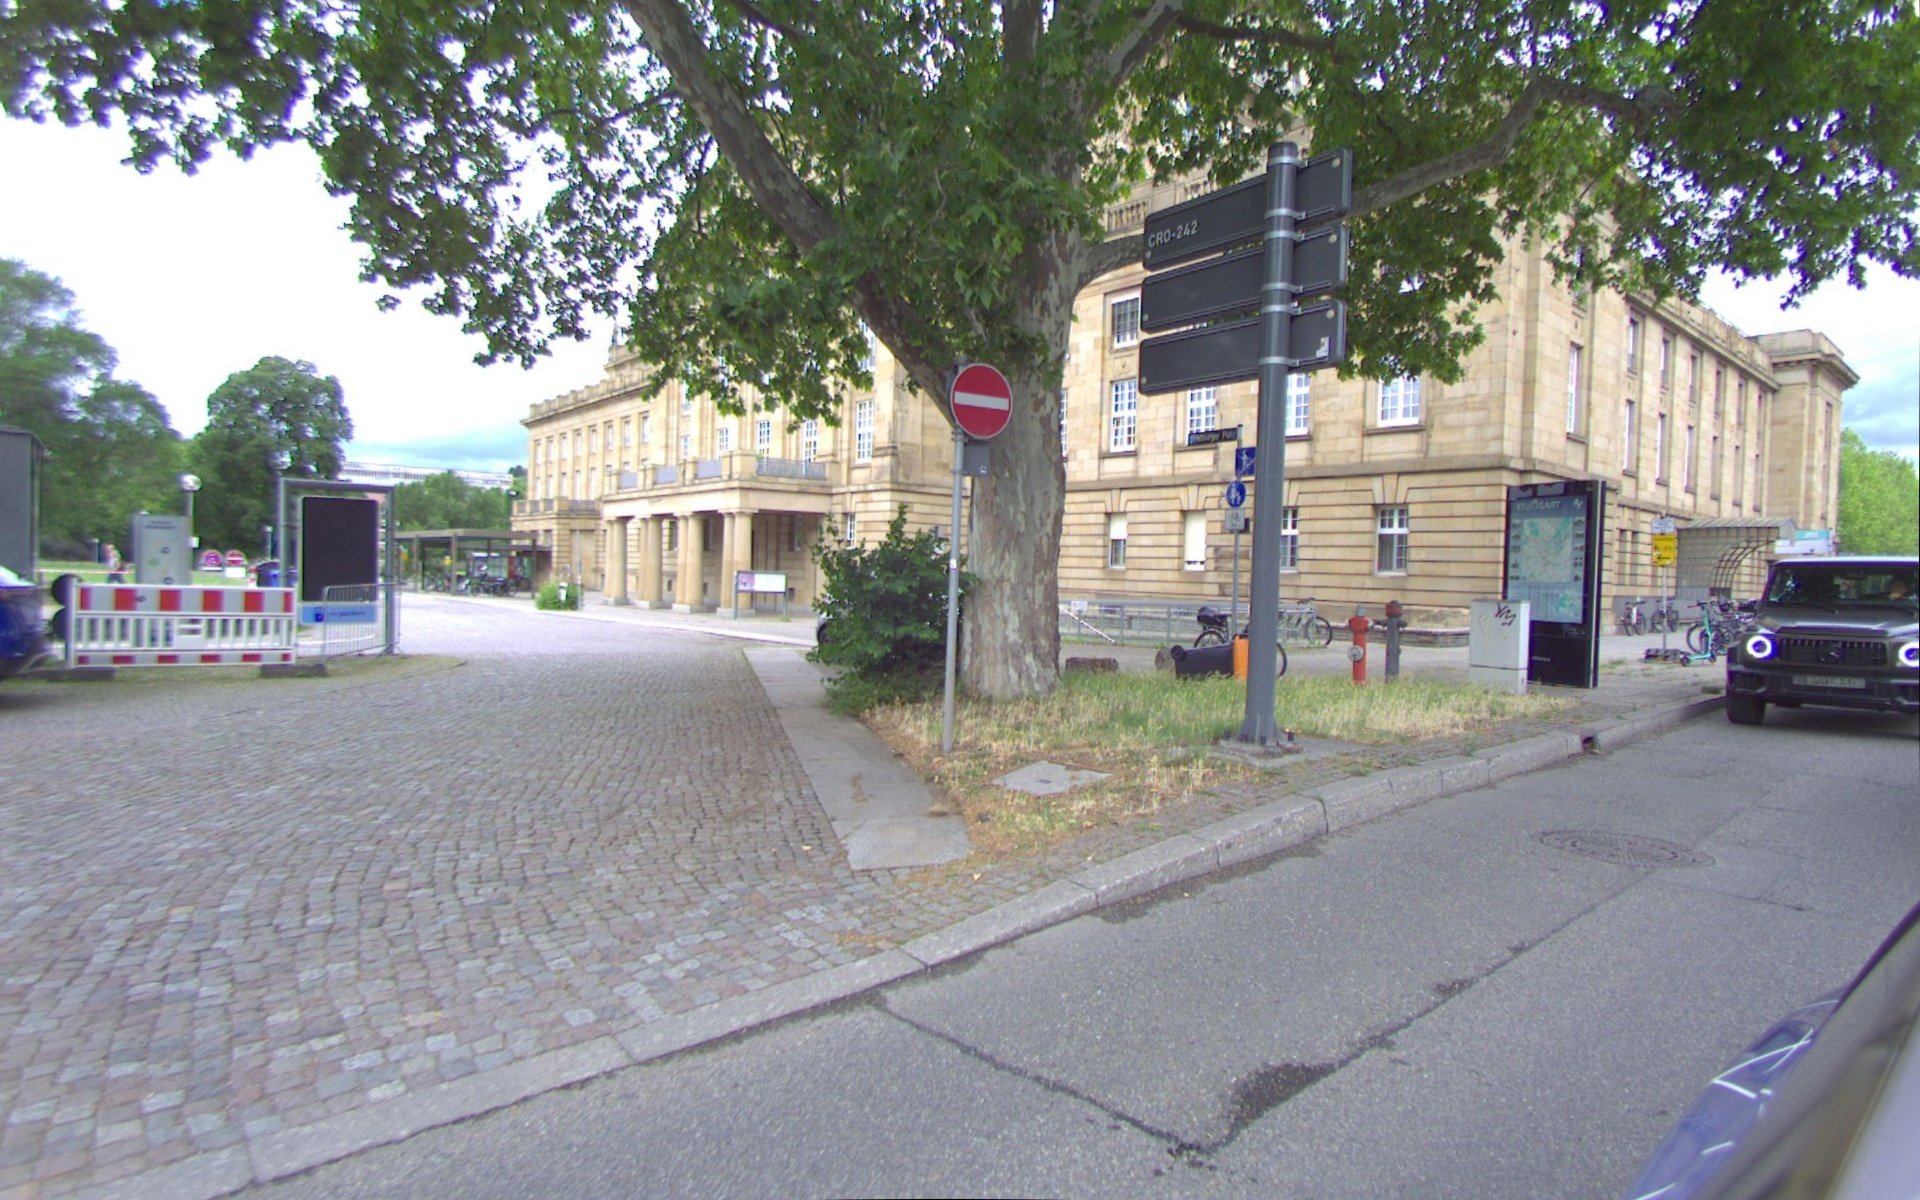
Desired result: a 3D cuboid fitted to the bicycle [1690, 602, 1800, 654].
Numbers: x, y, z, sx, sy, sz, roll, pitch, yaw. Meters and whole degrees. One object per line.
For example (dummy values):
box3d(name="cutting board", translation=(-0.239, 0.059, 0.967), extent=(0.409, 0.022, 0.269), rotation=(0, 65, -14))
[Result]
box3d(name="bicycle", translation=(17.746, 0.601, 22.912), extent=(0.653, 1.105, 1.864), rotation=(0, 0, -33))

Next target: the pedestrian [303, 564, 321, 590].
box3d(name="pedestrian", translation=(-45.937, -1.593, 71.704), extent=(0.539, 1.828, 0.939), rotation=(-1, 0, 22))

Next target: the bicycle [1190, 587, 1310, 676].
box3d(name="bicycle", translation=(4.329, 0.436, 15.225), extent=(0.483, 1.236, 1.790), rotation=(0, 1, -37))

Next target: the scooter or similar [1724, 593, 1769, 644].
box3d(name="scooter or similar", translation=(19.657, 0.442, 25.287), extent=(1.286, 1.239, 0.427), rotation=(-1, 0, -31))

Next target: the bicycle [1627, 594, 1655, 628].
box3d(name="bicycle", translation=(21.263, 0.333, 31.577), extent=(1.929, 1.010, 0.240), rotation=(-1, 2, -42))

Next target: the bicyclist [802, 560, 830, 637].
box3d(name="bicyclist", translation=(-3.402, -0.041, 23.889), extent=(0.436, 1.770, 0.468), rotation=(2, 1, 42))

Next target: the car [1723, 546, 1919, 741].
box3d(name="car", translation=(10.806, 0.411, 11.973), extent=(4.322, 1.949, 1.951), rotation=(0, 2, -41))

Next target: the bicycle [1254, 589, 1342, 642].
box3d(name="bicycle", translation=(7.844, 0.344, 23.546), extent=(0.382, 1.139, 2.015), rotation=(0, 2, -40))

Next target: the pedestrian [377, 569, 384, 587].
box3d(name="pedestrian", translation=(-58.657, -2.264, 102.488), extent=(0.534, 1.828, 0.654), rotation=(0, 0, -23))

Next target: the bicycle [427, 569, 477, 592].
box3d(name="bicycle", translation=(-30.273, -1.166, 60.332), extent=(2.533, 1.362, 0.726), rotation=(-1, 0, -41))

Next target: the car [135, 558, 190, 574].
box3d(name="car", translation=(-89.017, -3.767, 113.014), extent=(4.822, 1.761, 2.077), rotation=(-1, 0, -38))

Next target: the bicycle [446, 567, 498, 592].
box3d(name="bicycle", translation=(-27.755, -1.174, 57.578), extent=(2.533, 1.362, 0.726), rotation=(-1, 0, -41))

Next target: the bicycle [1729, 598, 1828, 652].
box3d(name="bicycle", translation=(19.309, 0.564, 23.900), extent=(0.594, 1.224, 1.759), rotation=(0, 0, -43))

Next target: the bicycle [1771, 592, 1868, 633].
box3d(name="bicycle", translation=(21.264, 0.286, 25.064), extent=(0.601, 0.928, 1.738), rotation=(0, 2, -22))

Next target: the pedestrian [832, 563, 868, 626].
box3d(name="pedestrian", translation=(-3.107, -0.148, 28.577), extent=(0.692, 1.743, 0.680), rotation=(0, 1, -42))

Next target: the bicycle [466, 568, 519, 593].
box3d(name="bicycle", translation=(-25.895, -1.075, 56.068), extent=(2.533, 1.362, 0.726), rotation=(-1, 0, -41))

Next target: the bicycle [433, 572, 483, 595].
box3d(name="bicycle", translation=(-29.549, -0.973, 59.597), extent=(2.533, 1.362, 0.726), rotation=(-1, 0, -41))

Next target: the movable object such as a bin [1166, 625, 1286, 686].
box3d(name="movable object such as a bin", translation=(3.273, 0.663, 12.530), extent=(0.714, 0.660, 1.304), rotation=(-1, 0, -32))

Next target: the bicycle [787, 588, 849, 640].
box3d(name="bicycle", translation=(-3.376, 0.320, 23.932), extent=(1.748, 1.146, 0.437), rotation=(2, 1, 42))

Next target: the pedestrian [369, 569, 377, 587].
box3d(name="pedestrian", translation=(-59.471, -2.256, 102.526), extent=(0.534, 1.828, 0.654), rotation=(0, 0, -23))

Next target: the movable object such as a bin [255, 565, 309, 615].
box3d(name="movable object such as a bin", translation=(-18.864, -0.286, 28.148), extent=(1.132, 1.320, 1.412), rotation=(0, 2, -38))

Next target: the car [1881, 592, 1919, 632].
box3d(name="car", translation=(37.964, 0.479, 40.188), extent=(3.792, 1.473, 1.619), rotation=(0, 3, -42))

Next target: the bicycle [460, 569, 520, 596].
box3d(name="bicycle", translation=(-25.988, -0.975, 56.040), extent=(2.852, 1.443, 0.959), rotation=(-1, 0, -45))

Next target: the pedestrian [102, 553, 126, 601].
box3d(name="pedestrian", translation=(-32.501, -0.887, 38.883), extent=(0.494, 1.828, 0.543), rotation=(-1, 0, 23))

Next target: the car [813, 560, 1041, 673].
box3d(name="car", translation=(-0.640, 0.181, 16.269), extent=(1.649, 1.588, 3.844), rotation=(0, 1, -40))

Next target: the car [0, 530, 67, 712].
box3d(name="car", translation=(-10.163, 0.088, 8.391), extent=(3.952, 1.571, 1.765), rotation=(3, 0, -38))

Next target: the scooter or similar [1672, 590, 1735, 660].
box3d(name="scooter or similar", translation=(14.132, 0.459, 19.237), extent=(1.405, 1.296, 0.433), rotation=(0, 0, -30))

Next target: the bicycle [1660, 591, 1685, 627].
box3d(name="bicycle", translation=(23.896, 0.297, 33.947), extent=(1.510, 1.197, 0.276), rotation=(0, 0, -39))

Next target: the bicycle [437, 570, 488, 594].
box3d(name="bicycle", translation=(-28.923, -1.048, 58.847), extent=(2.533, 1.362, 0.726), rotation=(-1, 0, -41))

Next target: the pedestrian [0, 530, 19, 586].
box3d(name="pedestrian", translation=(-35.783, -1.557, 37.851), extent=(0.618, 2.039, 0.807), rotation=(0, 0, -20))

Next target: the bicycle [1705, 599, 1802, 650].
box3d(name="bicycle", translation=(18.227, 0.548, 23.289), extent=(0.417, 1.105, 1.736), rotation=(0, 0, -27))
